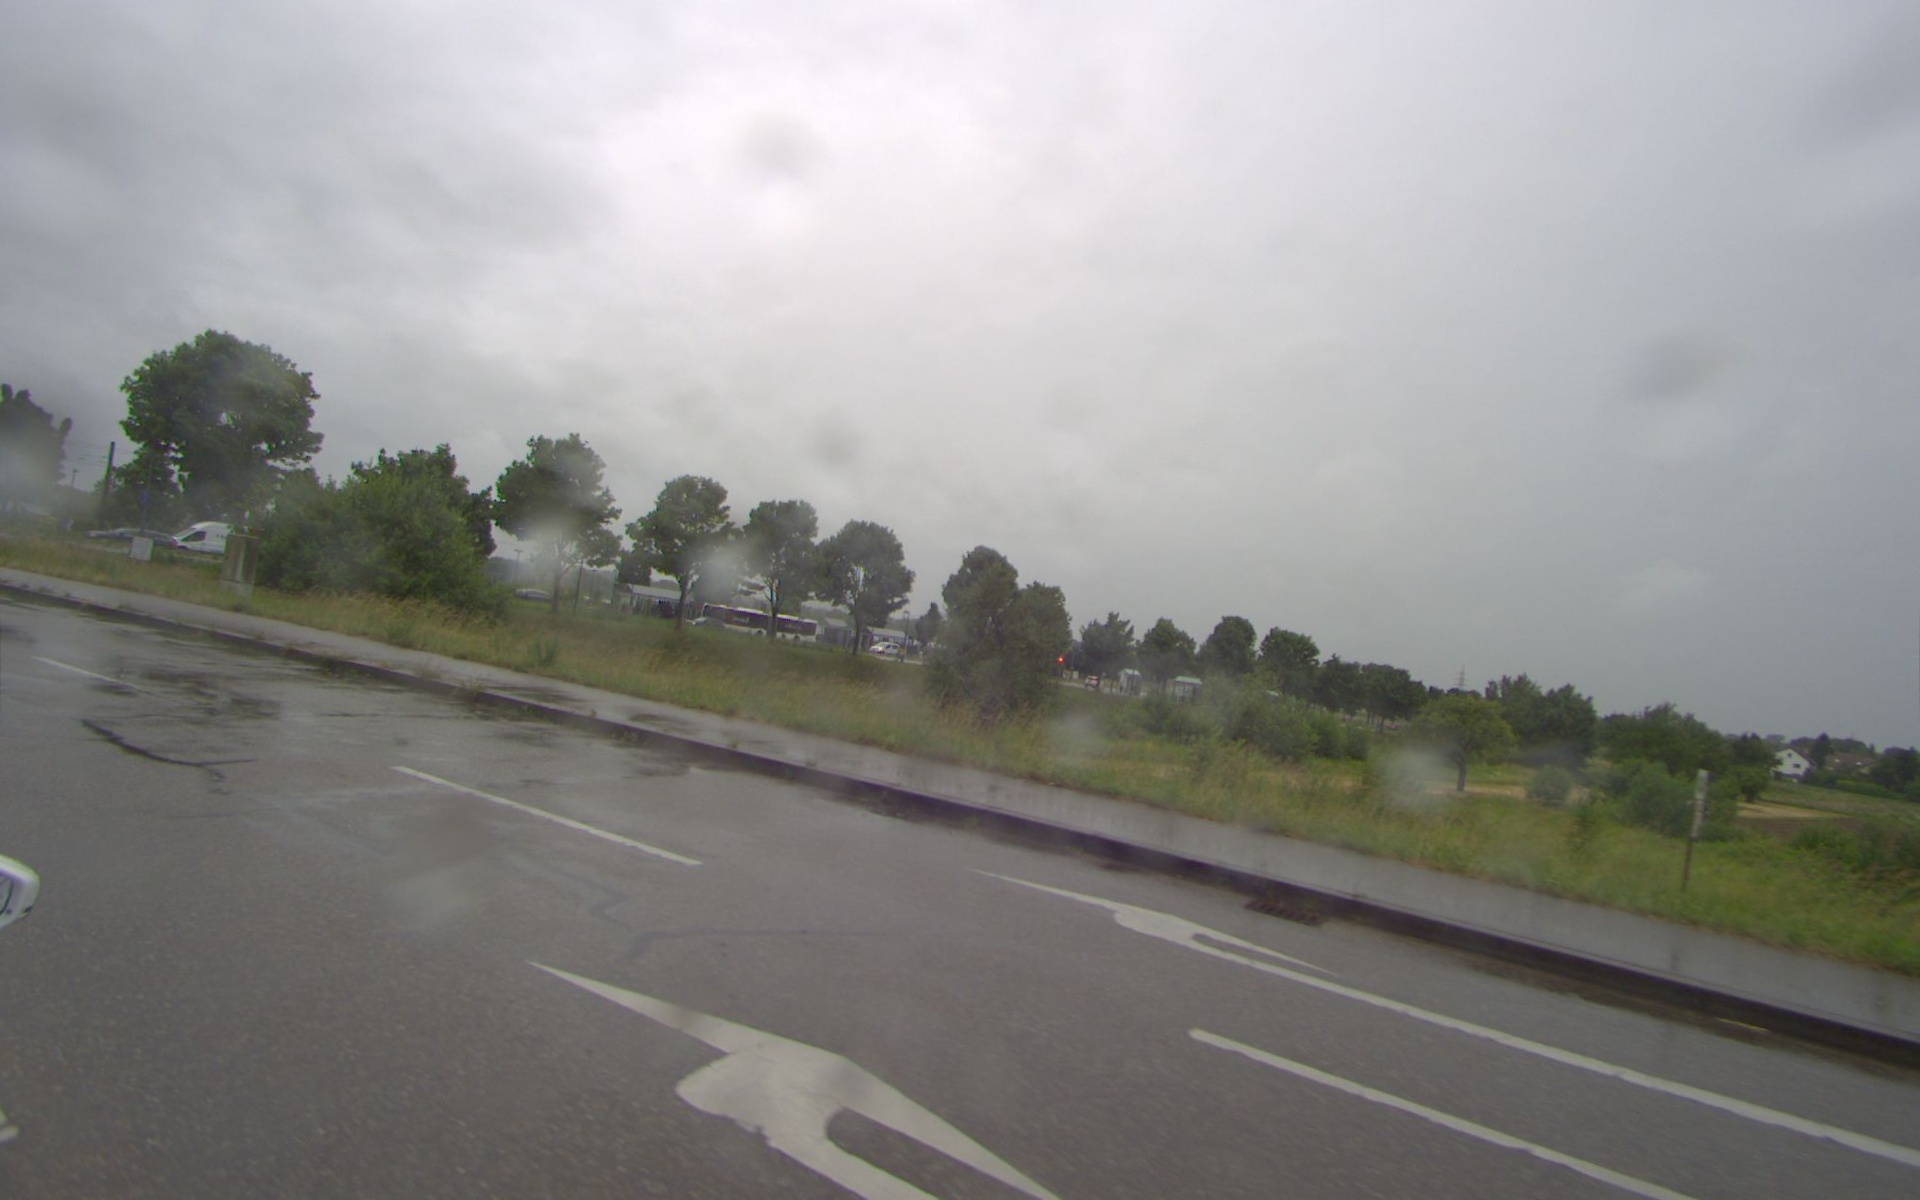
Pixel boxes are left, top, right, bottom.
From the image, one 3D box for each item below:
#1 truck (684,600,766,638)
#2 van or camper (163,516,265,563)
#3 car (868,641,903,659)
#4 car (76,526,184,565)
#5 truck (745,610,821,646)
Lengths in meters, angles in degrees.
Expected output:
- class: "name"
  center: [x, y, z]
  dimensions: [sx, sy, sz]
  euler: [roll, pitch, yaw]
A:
- class: "truck"
  center: [-24.867, 2.076, 106.819]
  dimensions: [2.613, 2.863, 8.837]
  euler: [7, -3, 33]
- class: "van or camper"
  center: [-49.724, -4.006, 67.177]
  dimensions: [2.123, 2.193, 4.864]
  euler: [7, -3, 27]
- class: "car"
  center: [-9.109, 6.183, 123.700]
  dimensions: [1.793, 1.570, 4.682]
  euler: [6, -4, 32]
- class: "car"
  center: [-50.621, -3.295, 61.452]
  dimensions: [1.793, 1.571, 4.677]
  euler: [7, -2, 34]
- class: "truck"
  center: [-19.996, 3.255, 114.385]
  dimensions: [2.613, 2.802, 9.341]
  euler: [7, -3, 34]
